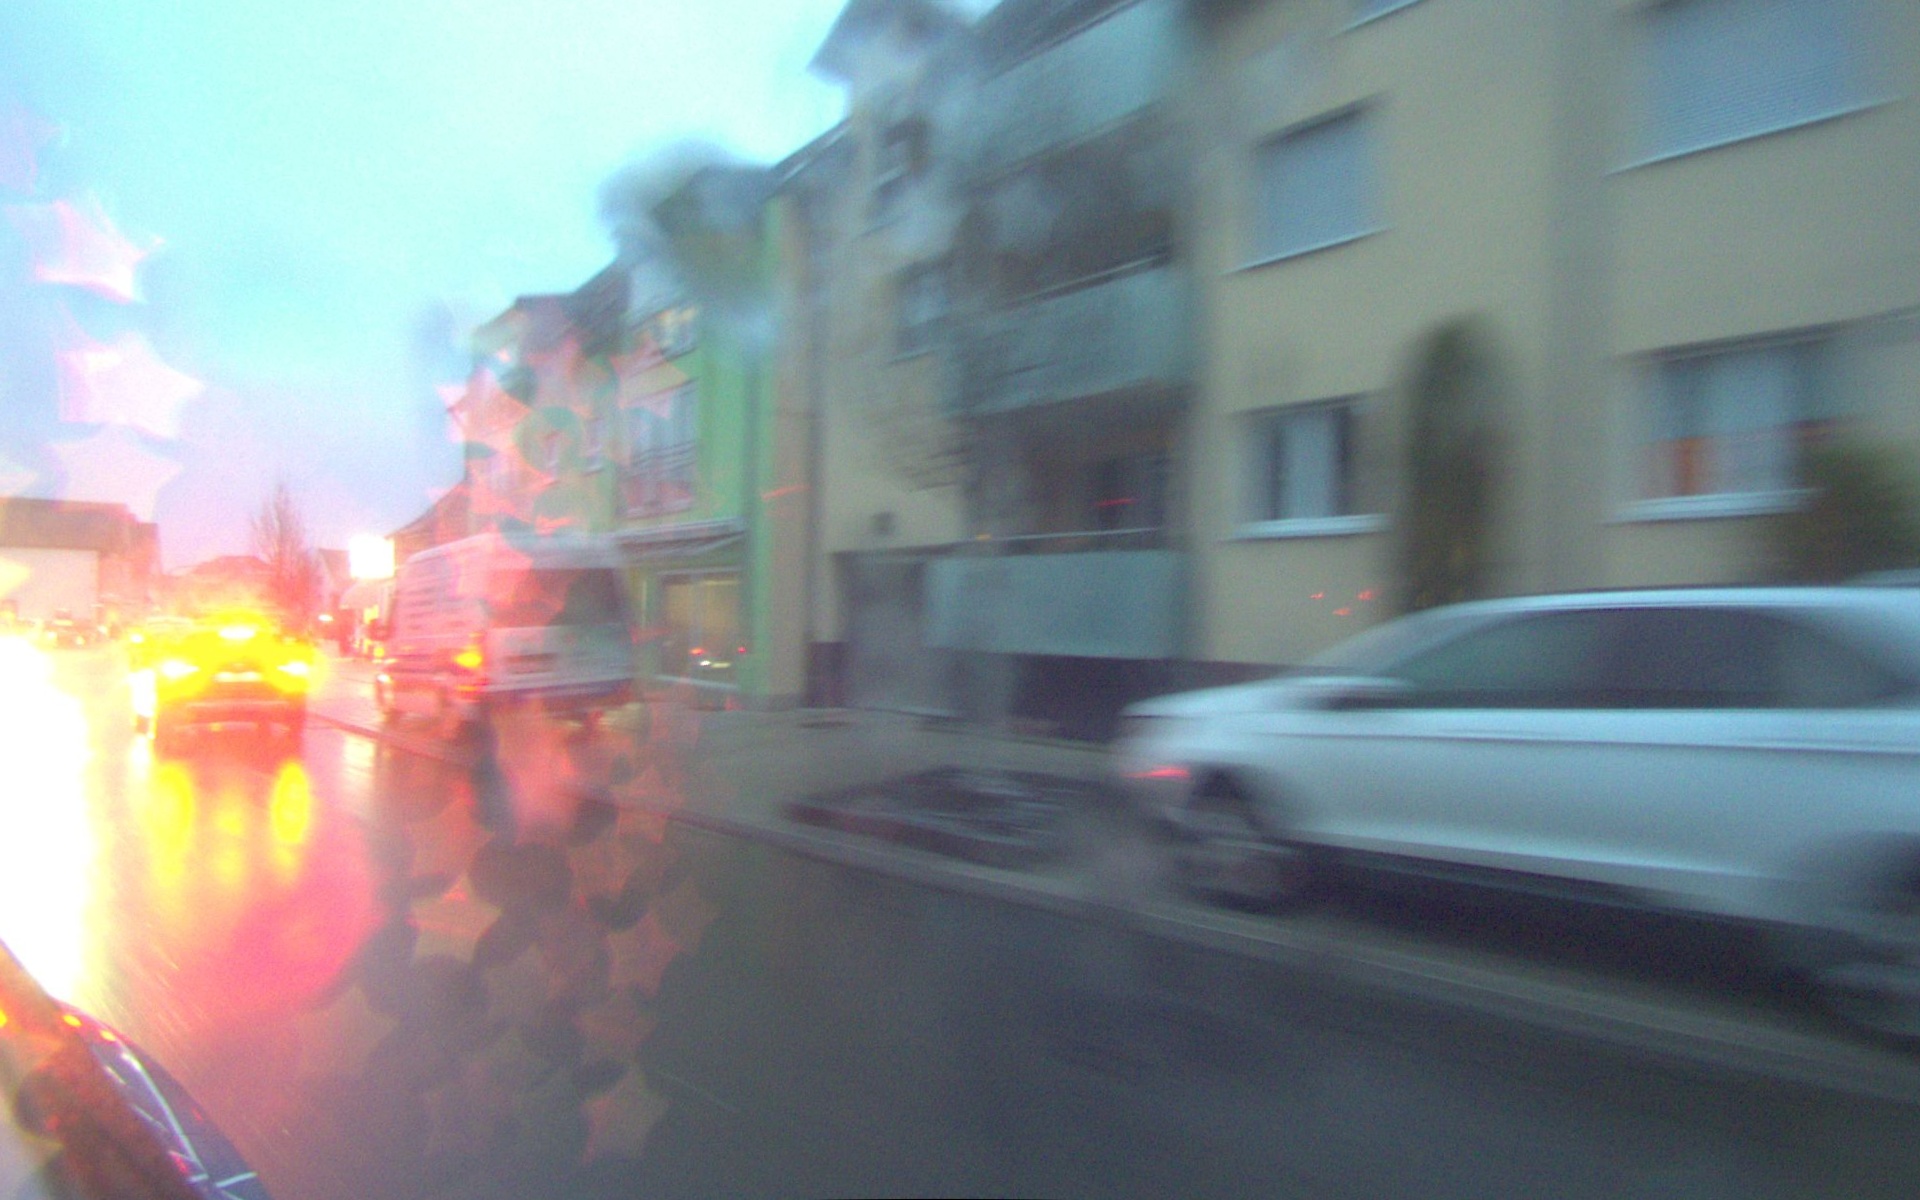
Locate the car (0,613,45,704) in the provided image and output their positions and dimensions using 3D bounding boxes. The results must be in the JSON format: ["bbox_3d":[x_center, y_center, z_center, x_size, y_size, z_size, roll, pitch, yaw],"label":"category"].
[{"bbox_3d":[-20.268,1.166,20.621,1.967,1.743,4.009,0,-1,-36],"label":"car"}]

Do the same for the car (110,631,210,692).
[{"bbox_3d":[-22.442,1.701,28.537,1.832,1.568,4.268,3,-3,-34],"label":"car"}]

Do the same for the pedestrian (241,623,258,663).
[{"bbox_3d":[-29.058,1.761,41.378,0.521,1.597,0.577,1,-3,-36],"label":"pedestrian"}]

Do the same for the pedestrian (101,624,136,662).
[{"bbox_3d":[-42.110,2.127,50.637,1.004,1.890,0.938,-1,-2,16],"label":"pedestrian"}]

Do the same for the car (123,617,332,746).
[{"bbox_3d":[-10.713,1.073,14.680,1.894,1.576,4.231,4,-3,-43],"label":"car"}]

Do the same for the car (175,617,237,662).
[{"bbox_3d":[-32.040,1.697,43.125,1.967,1.719,4.978,-2,-2,-35],"label":"car"}]

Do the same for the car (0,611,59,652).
[{"bbox_3d":[-50.589,1.644,53.398,4.033,2.065,2.006,3,-3,-25],"label":"car"}]

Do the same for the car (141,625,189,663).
[{"bbox_3d":[-44.605,2.421,56.849,1.967,2.029,4.010,0,-1,-36],"label":"car"}]

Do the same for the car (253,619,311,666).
[{"bbox_3d":[-27.392,1.664,40.909,1.855,1.723,4.724,0,-1,-34],"label":"car"}]

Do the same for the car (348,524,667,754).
[{"bbox_3d":[-6.876,0.452,14.737,2.454,2.579,6.772,0,0,-40],"label":"car"}]

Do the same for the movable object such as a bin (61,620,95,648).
[{"bbox_3d":[-55.025,2.108,63.161,1.374,1.656,1.264,4,-4,-36],"label":"movable object such as a bin"}]

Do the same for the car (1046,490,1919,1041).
[{"bbox_3d":[3.097,0.573,4.951,5.306,1.857,1.971,-1,-1,45],"label":"car"}]

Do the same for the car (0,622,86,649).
[{"bbox_3d":[-54.840,2.100,60.266,3.931,1.497,1.918,2,-1,-30],"label":"car"}]

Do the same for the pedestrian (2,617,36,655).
[{"bbox_3d":[-43.572,1.670,46.877,0.824,1.718,0.848,2,-3,-22],"label":"pedestrian"}]

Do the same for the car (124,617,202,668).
[{"bbox_3d":[-27.123,1.508,34.465,1.926,1.559,4.423,3,-6,-38],"label":"car"}]

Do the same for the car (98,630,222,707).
[{"bbox_3d":[-18.064,1.493,22.869,1.968,1.568,4.265,3,-4,-39],"label":"car"}]

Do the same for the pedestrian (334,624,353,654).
[{"bbox_3d":[-34.394,2.168,56.463,0.815,1.671,1.100,-1,-1,-34],"label":"pedestrian"}]
